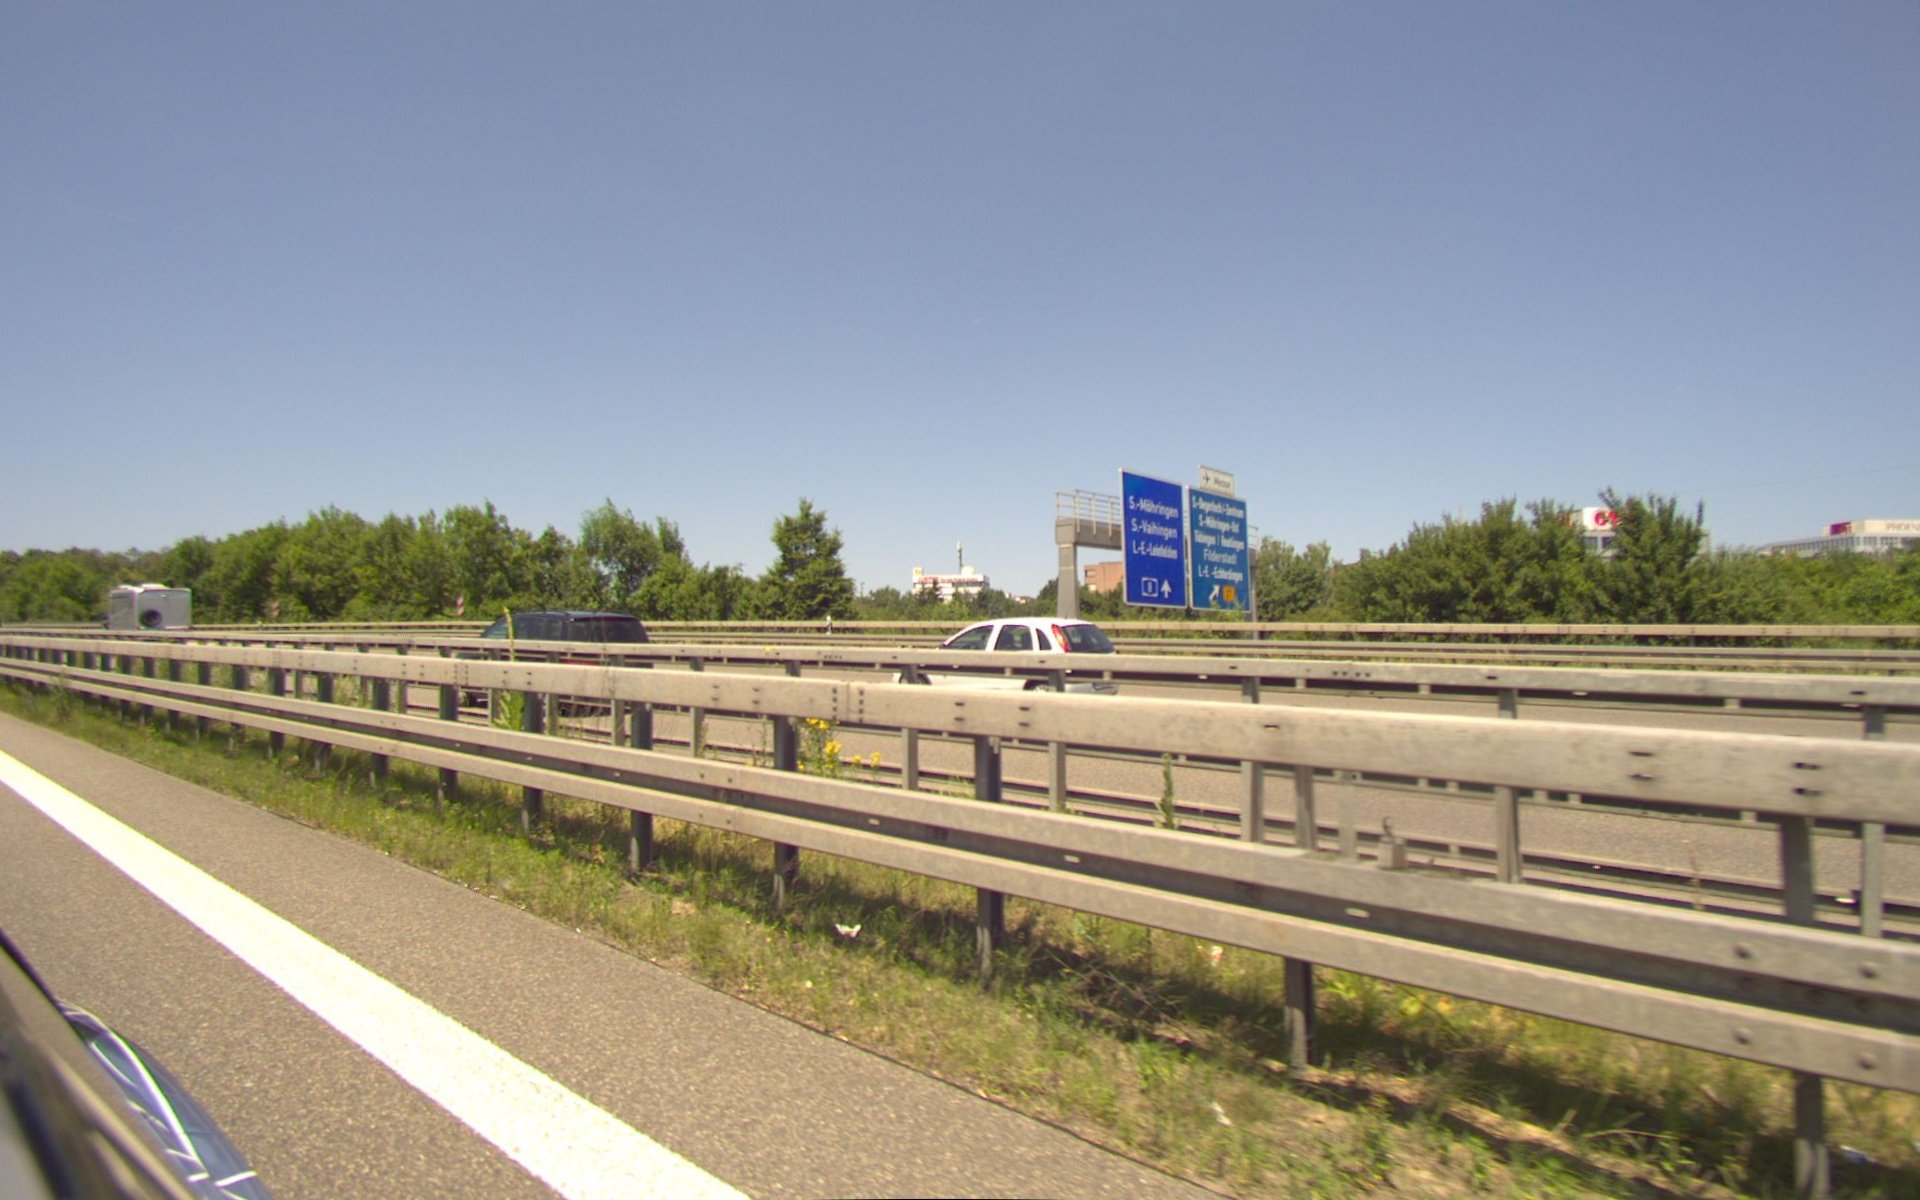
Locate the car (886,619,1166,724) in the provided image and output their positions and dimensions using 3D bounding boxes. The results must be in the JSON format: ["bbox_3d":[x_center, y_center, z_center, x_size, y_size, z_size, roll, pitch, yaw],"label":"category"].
[{"bbox_3d":[0.930,1.009,15.617,4.094,1.395,1.731,-1,-1,40],"label":"car"}]

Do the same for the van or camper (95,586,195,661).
[{"bbox_3d":[-38.696,1.131,47.955,6.824,3.336,2.291,-2,-1,39],"label":"van or camper"}]

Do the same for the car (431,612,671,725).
[{"bbox_3d":[-6.847,1.025,16.675,4.688,1.598,1.730,-1,-1,41],"label":"car"}]
